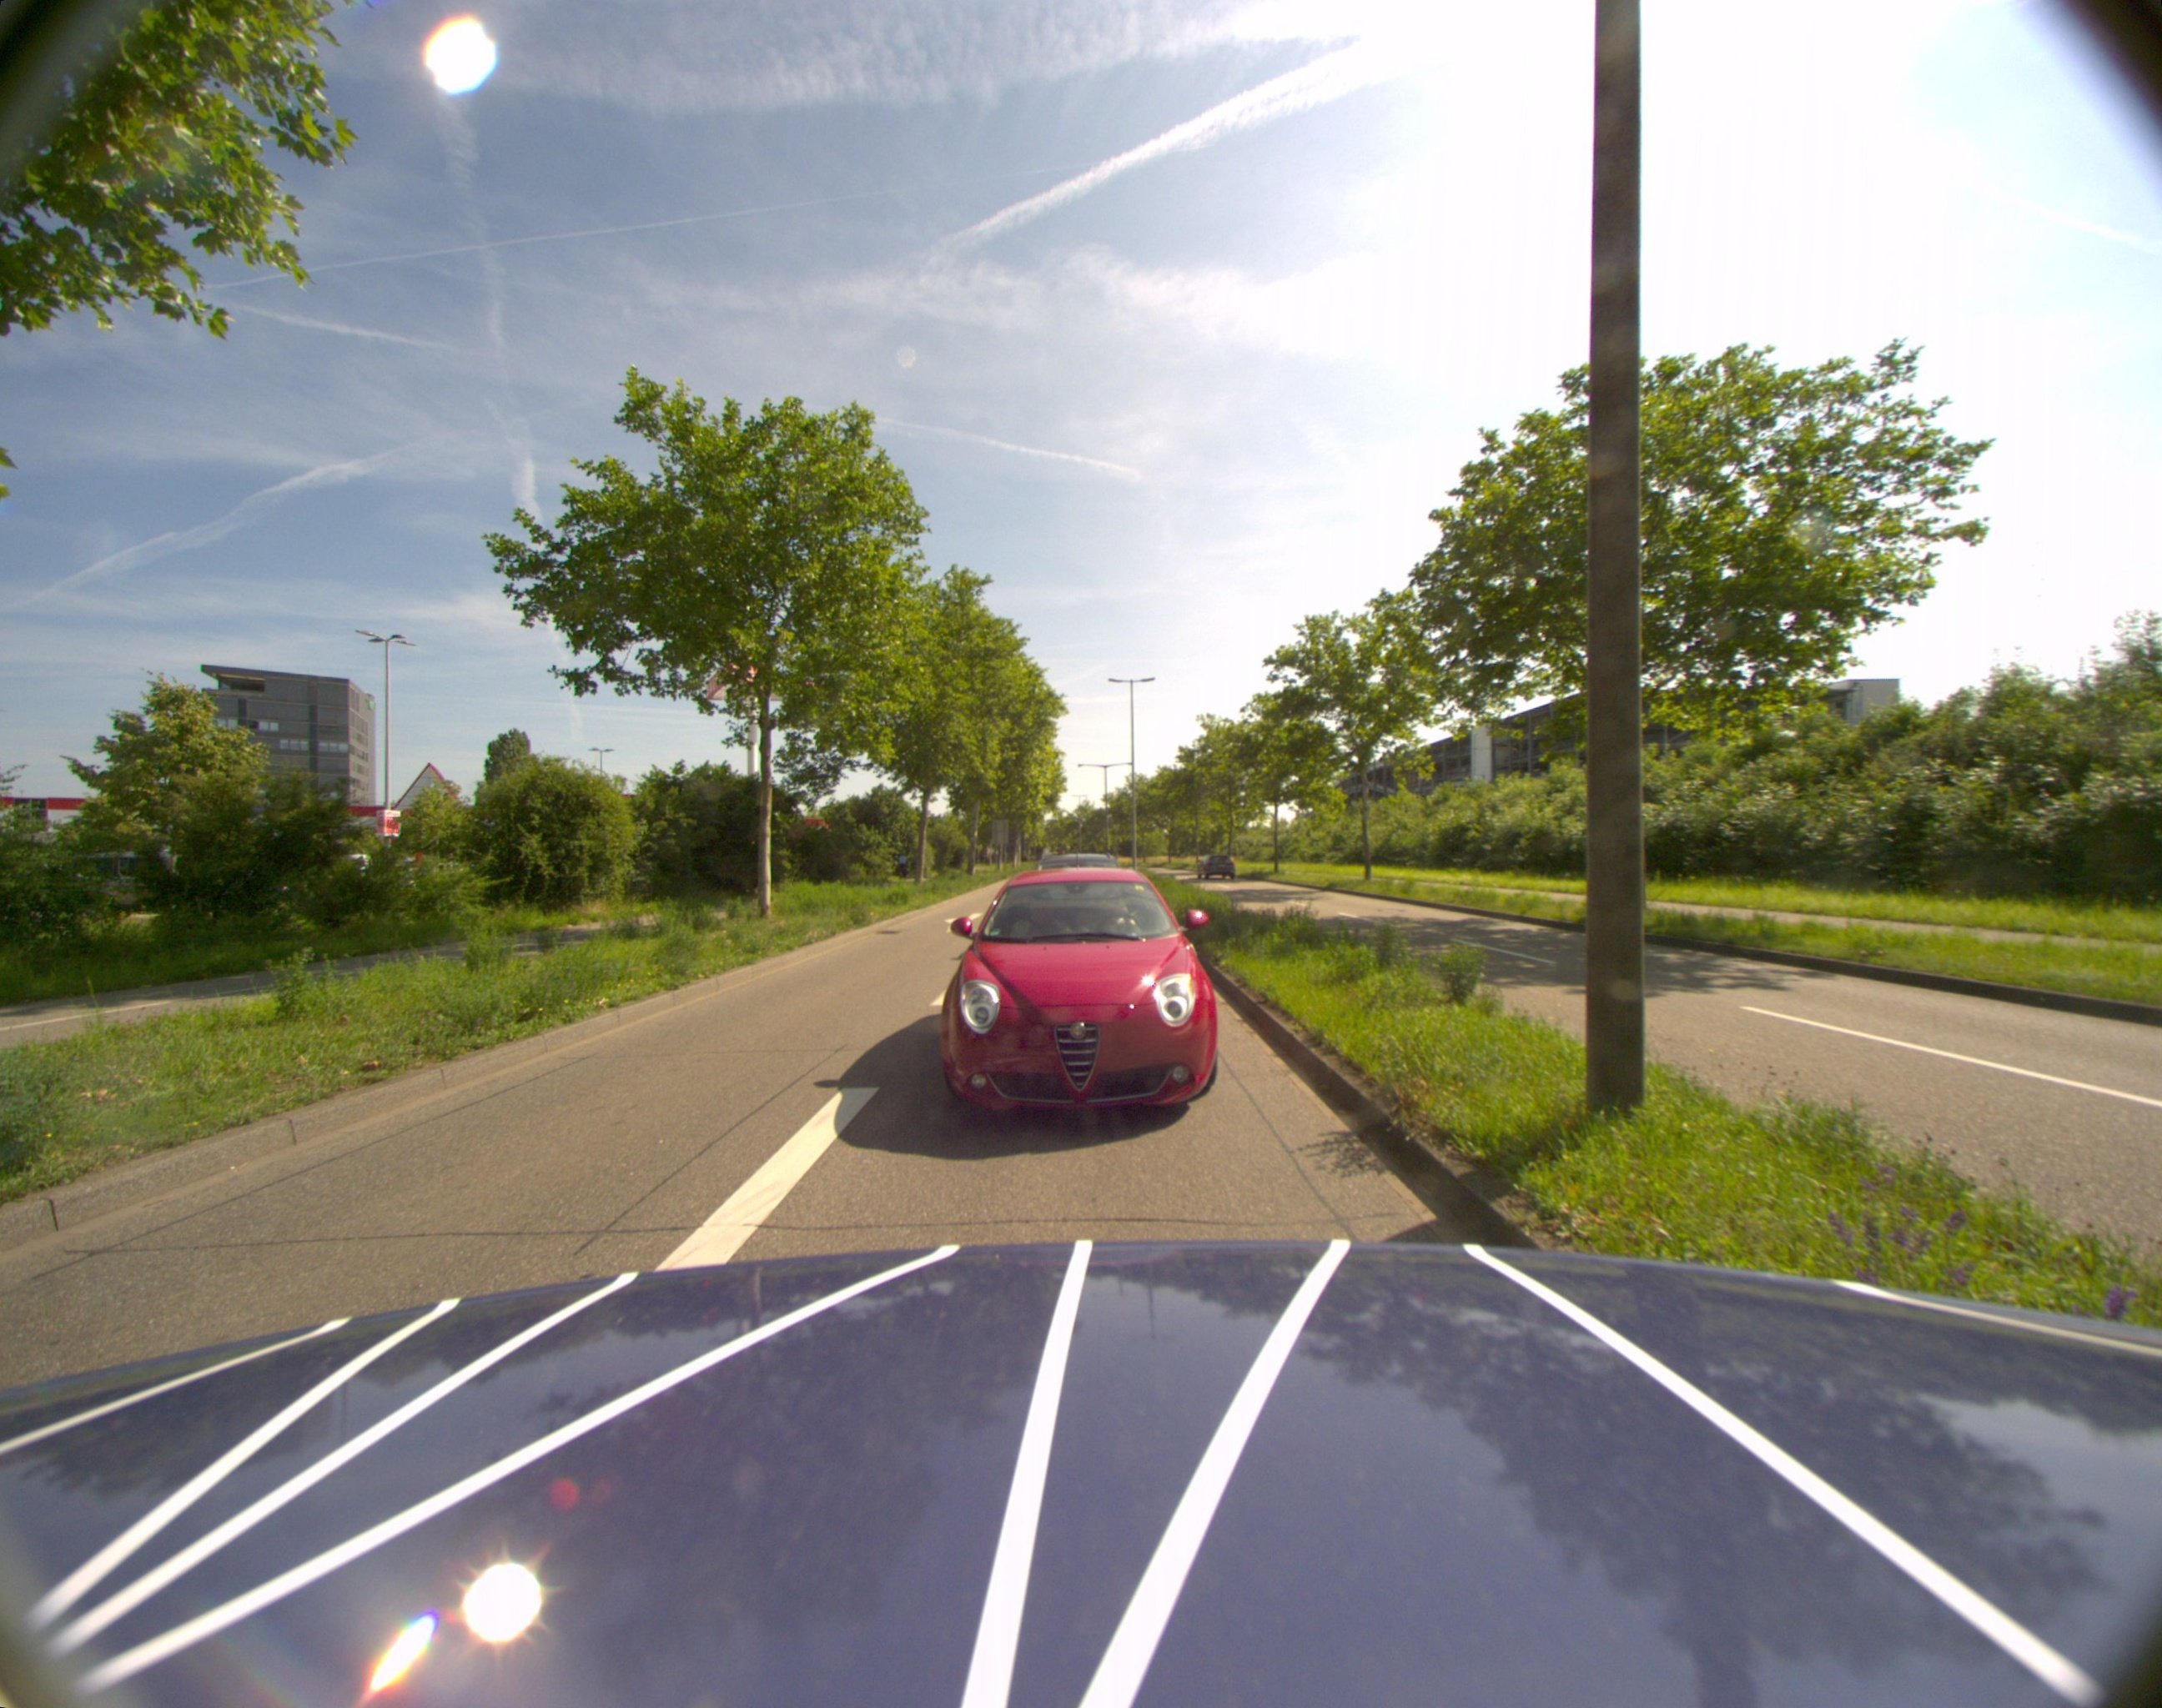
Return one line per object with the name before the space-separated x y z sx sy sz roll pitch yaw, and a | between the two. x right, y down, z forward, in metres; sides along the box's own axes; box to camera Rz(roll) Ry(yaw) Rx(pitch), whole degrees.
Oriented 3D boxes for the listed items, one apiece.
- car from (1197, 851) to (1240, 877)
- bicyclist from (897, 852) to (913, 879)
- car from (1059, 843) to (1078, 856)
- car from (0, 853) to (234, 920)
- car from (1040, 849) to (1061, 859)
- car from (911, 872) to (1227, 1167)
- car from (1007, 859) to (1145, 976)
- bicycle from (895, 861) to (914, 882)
car | 8.381 0.561 46.593 1.868 1.459 3.937 -1 1 0
bicyclist | -10.835 0.683 46.798 0.687 1.622 1.002 0 1 1
car | -2.520 -0.847 149.598 2.067 2.396 5.530 0 1 -18
car | -25.073 0.763 19.693 3.870 1.576 1.844 -1 1 -38
car | -6.088 -0.029 150.605 2.003 2.002 4.687 -1 1 -32
car | -0.039 0.944 6.068 1.658 1.430 3.908 -2 0 1
car | -0.044 0.889 12.506 1.874 1.536 4.081 -1 0 1
bicycle | -10.833 1.092 46.773 0.687 1.230 1.934 0 1 1
